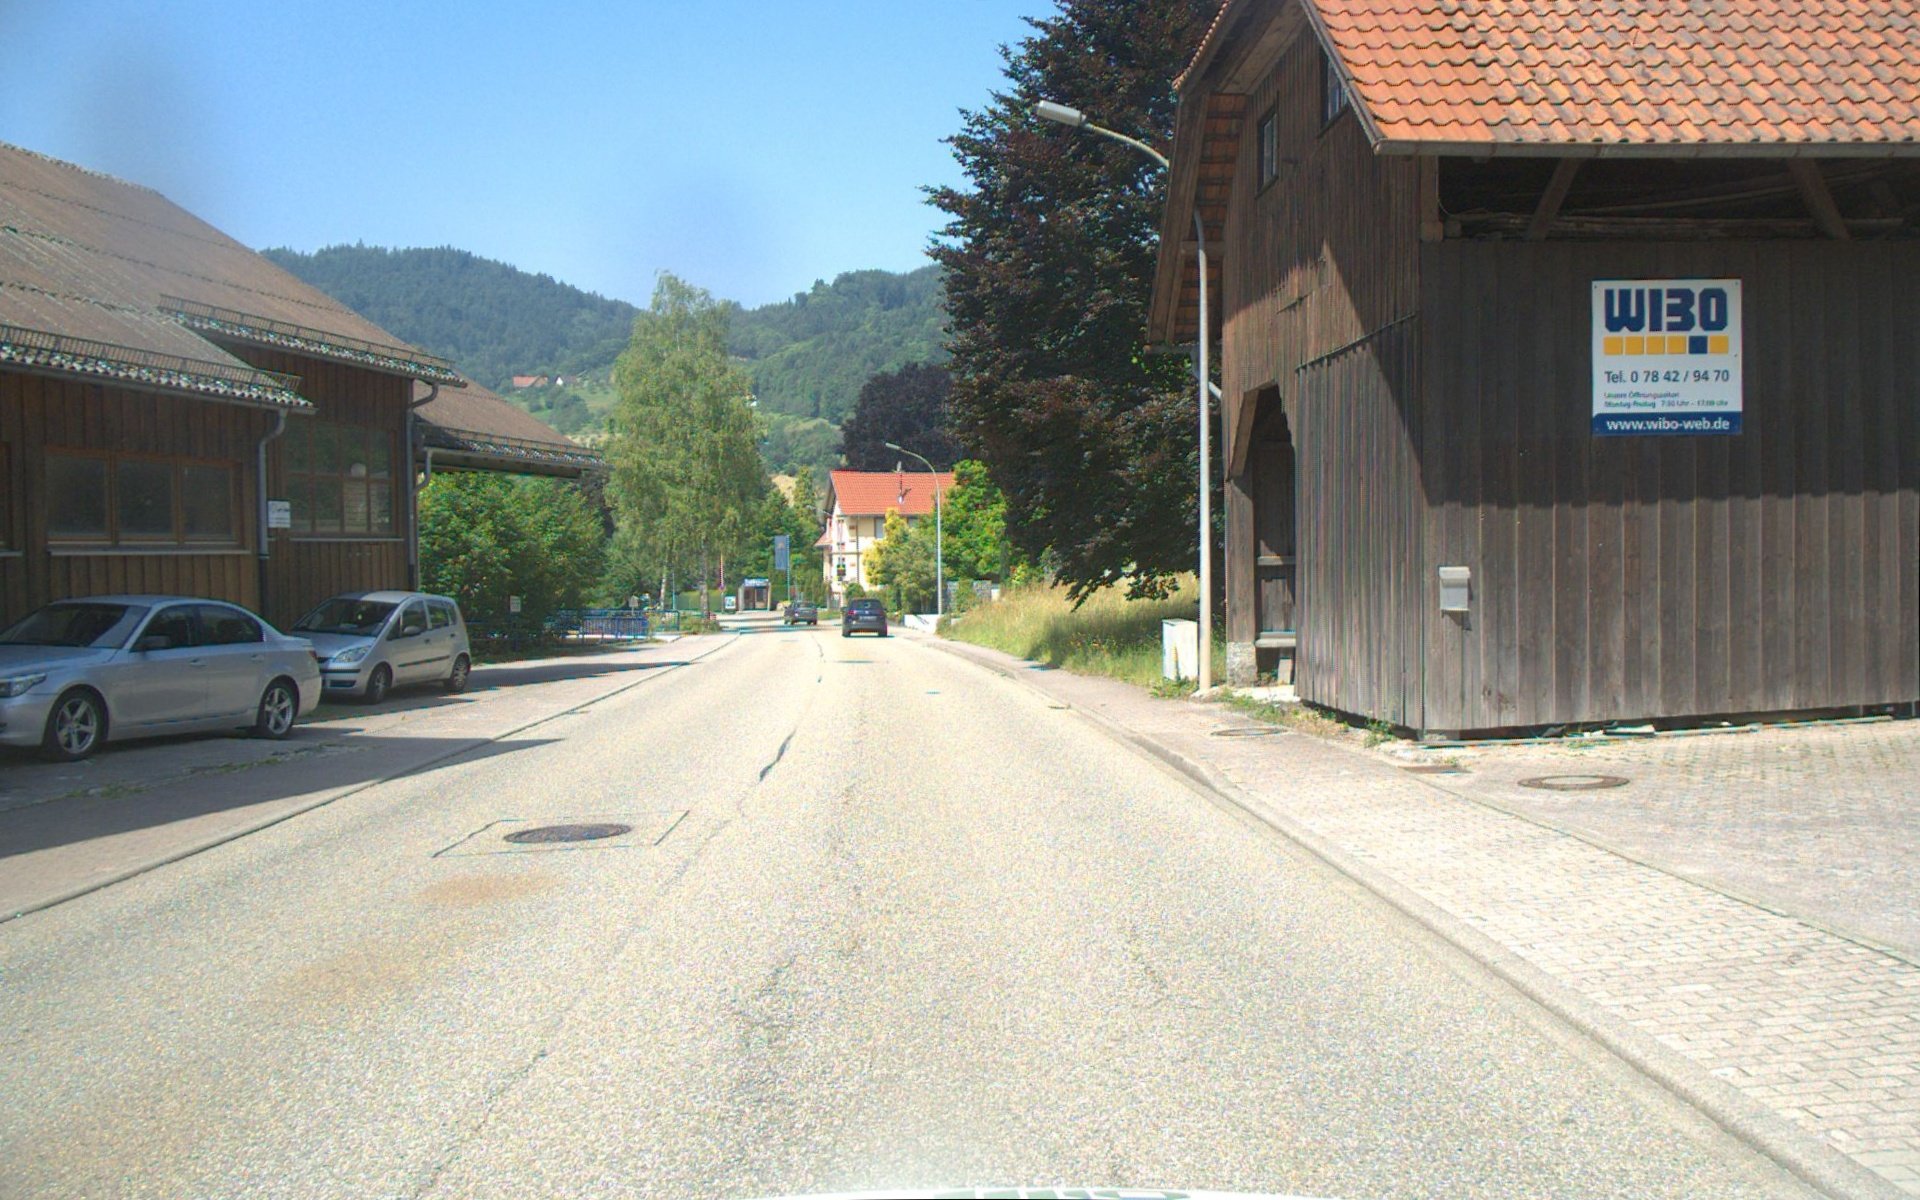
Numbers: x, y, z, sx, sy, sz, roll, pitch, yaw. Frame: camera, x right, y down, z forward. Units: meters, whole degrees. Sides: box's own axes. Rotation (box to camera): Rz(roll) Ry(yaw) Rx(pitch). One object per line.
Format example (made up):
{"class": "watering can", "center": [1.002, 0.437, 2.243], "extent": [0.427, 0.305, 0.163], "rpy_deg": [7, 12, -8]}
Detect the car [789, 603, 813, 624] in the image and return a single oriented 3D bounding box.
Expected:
{"class": "car", "center": [-10.129, 0.846, 105.153], "extent": [1.448, 1.230, 2.381], "rpy_deg": [-2, 0, -6]}

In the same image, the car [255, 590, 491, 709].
{"class": "car", "center": [-8.815, 0.675, 25.222], "extent": [1.547, 1.597, 4.027], "rpy_deg": [2, 1, 10]}

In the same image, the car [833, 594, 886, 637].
{"class": "car", "center": [-4.267, 0.645, 70.038], "extent": [1.884, 1.728, 3.781], "rpy_deg": [-2, 0, -9]}

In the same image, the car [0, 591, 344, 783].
{"class": "car", "center": [-8.149, 0.710, 16.077], "extent": [1.692, 1.479, 4.809], "rpy_deg": [0, 1, 12]}
